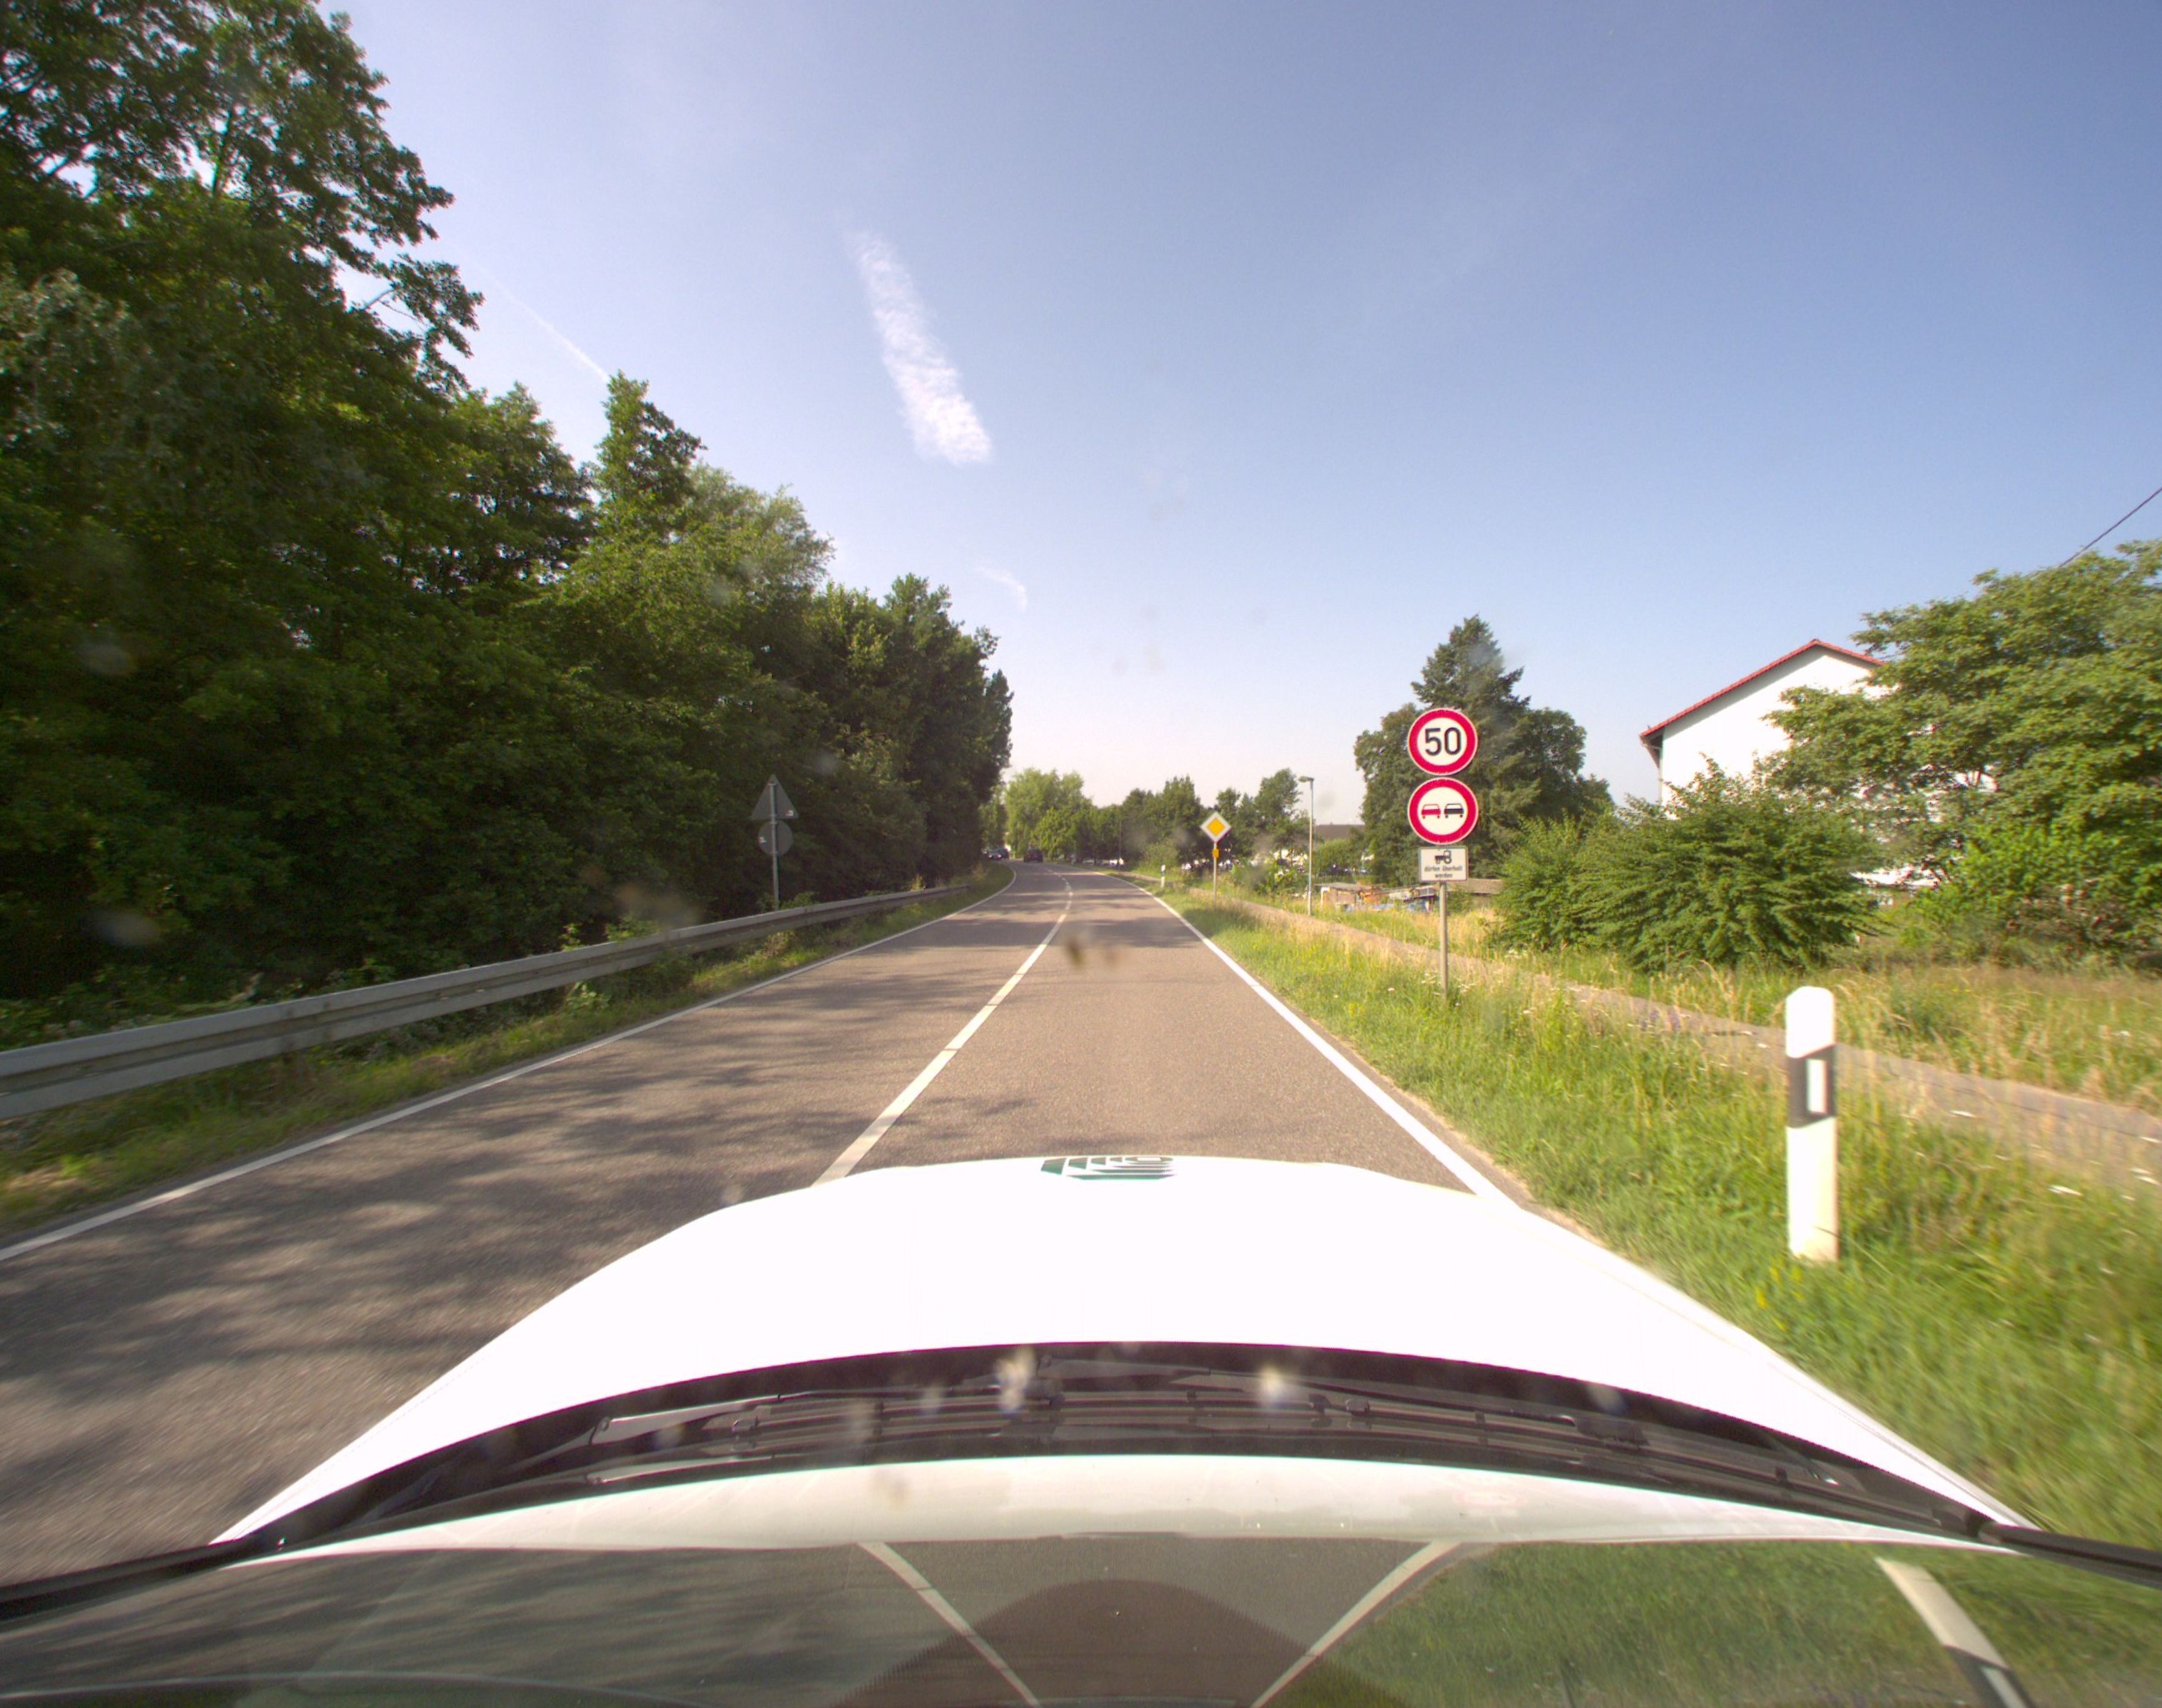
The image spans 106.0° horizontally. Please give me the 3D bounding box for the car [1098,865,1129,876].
[{"bbox_3d":[4.626,2.406,117.711,4.256,1.471,1.840,0,-1,-6],"label":"car"}]

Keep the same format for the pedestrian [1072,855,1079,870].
[{"bbox_3d":[-0.682,1.041,99.759,0.751,1.775,0.973,0,-1,1],"label":"pedestrian"}]

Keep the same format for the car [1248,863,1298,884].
[{"bbox_3d":[24.476,2.445,103.855,5.710,2.667,2.422,0,-1,38],"label":"car"}]

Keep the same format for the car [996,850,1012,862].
[{"bbox_3d":[-11.738,0.317,123.902,2.006,1.771,3.984,1,1,-12],"label":"car"}]

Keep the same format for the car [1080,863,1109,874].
[{"bbox_3d":[2.149,2.348,128.704,4.233,1.680,1.885,0,-1,-9],"label":"car"}]

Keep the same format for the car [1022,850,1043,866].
[{"bbox_3d":[-5.770,0.430,97.249,1.927,1.771,3.984,1,1,-12],"label":"car"}]

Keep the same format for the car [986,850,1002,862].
[{"bbox_3d":[-11.956,0.266,111.857,1.753,1.474,3.981,1,1,-14],"label":"car"}]
